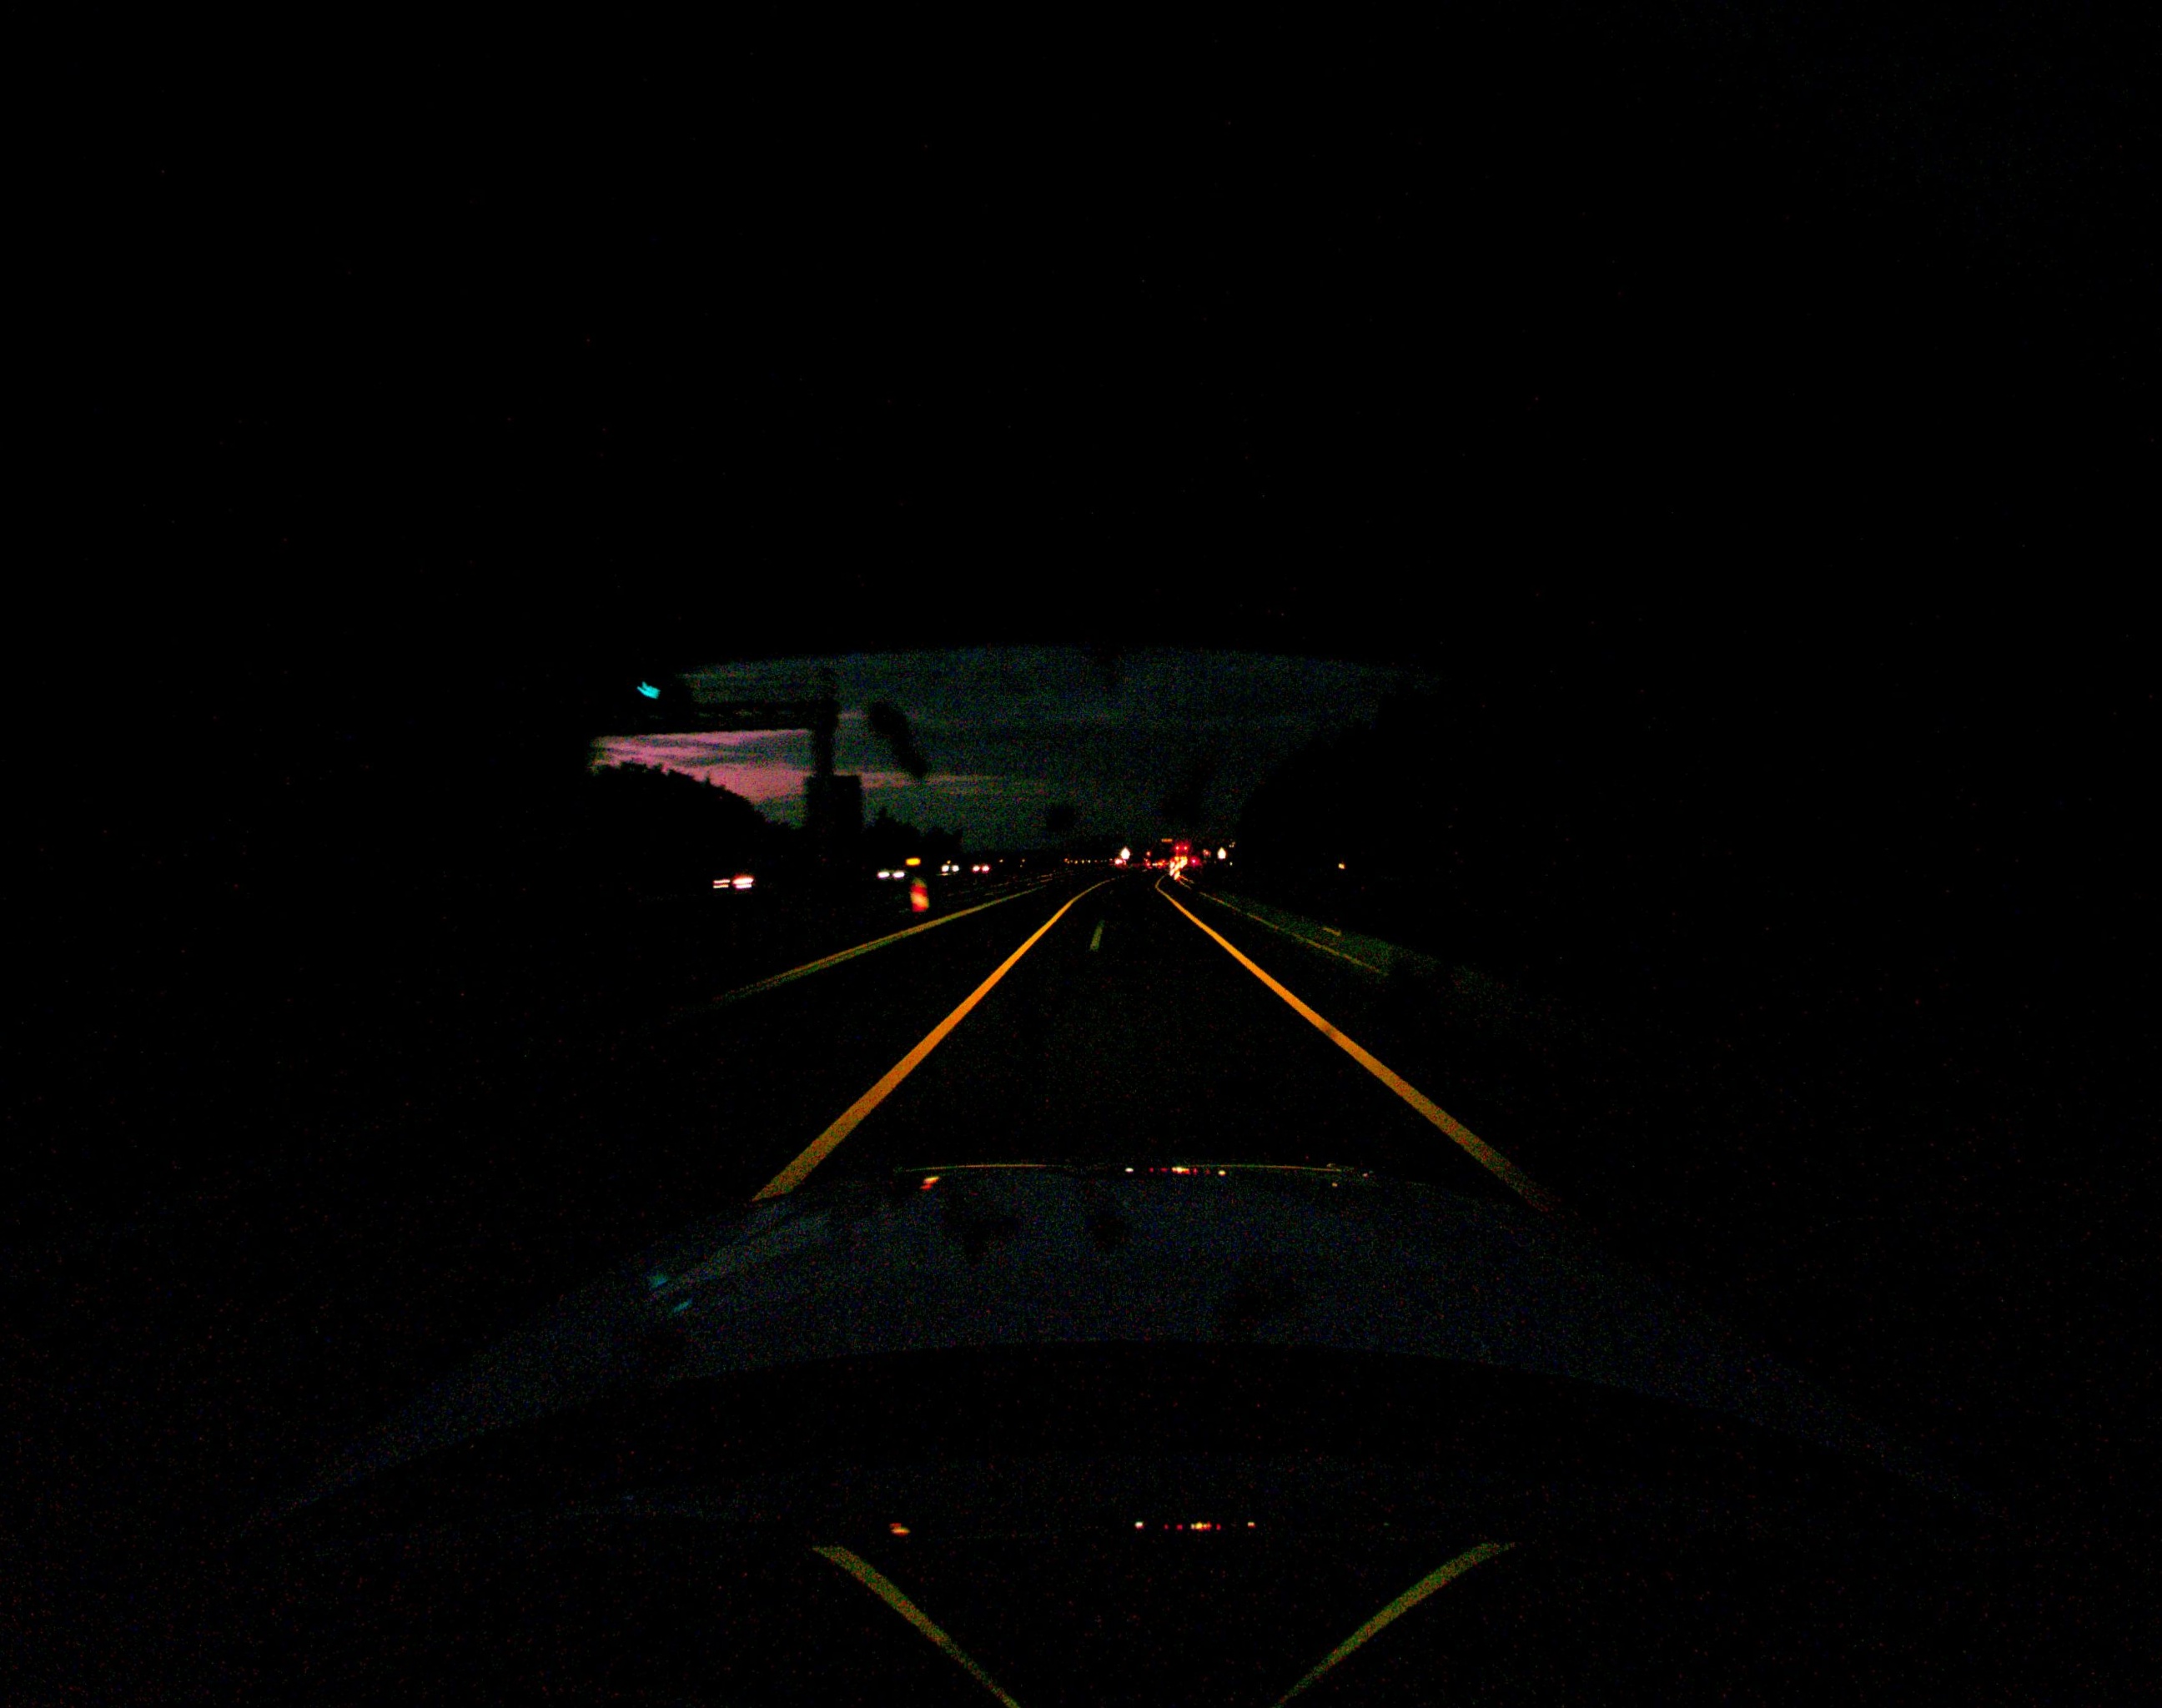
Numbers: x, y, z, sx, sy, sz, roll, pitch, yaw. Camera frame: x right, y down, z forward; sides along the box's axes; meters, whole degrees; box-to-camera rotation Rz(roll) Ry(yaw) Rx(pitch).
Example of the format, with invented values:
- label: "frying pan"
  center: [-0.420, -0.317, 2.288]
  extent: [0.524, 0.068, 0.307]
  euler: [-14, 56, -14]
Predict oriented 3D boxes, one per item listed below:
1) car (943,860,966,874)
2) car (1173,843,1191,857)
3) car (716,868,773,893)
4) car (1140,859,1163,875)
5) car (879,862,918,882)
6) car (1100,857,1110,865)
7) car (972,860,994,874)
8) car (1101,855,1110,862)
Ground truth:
- label: "car"
  center: [-16.339, 1.632, 105.320]
  extent: [1.897, 1.714, 3.950]
  euler: [0, 0, 6]
- label: "car"
  center: [25.338, -0.862, 203.929]
  extent: [3.593, 3.396, 8.014]
  euler: [0, 0, 1]
- label: "car"
  center: [-20.878, 1.633, 50.725]
  extent: [1.695, 1.455, 3.934]
  euler: [0, 0, 4]
- label: "car"
  center: [7.594, 1.400, 87.912]
  extent: [2.256, 1.621, 4.003]
  euler: [0, 0, 3]
- label: "car"
  center: [-15.617, 1.539, 69.941]
  extent: [1.822, 1.661, 4.848]
  euler: [0, 0, 5]
- label: "car"
  center: [5.930, 1.714, 199.985]
  extent: [1.983, 1.714, 4.008]
  euler: [0, 0, 7]
- label: "car"
  center: [-12.615, 1.658, 105.299]
  extent: [1.822, 1.661, 4.848]
  euler: [0, 0, 5]
- label: "car"
  center: [6.327, 1.179, 207.119]
  extent: [1.983, 1.828, 4.008]
  euler: [0, 0, 7]
